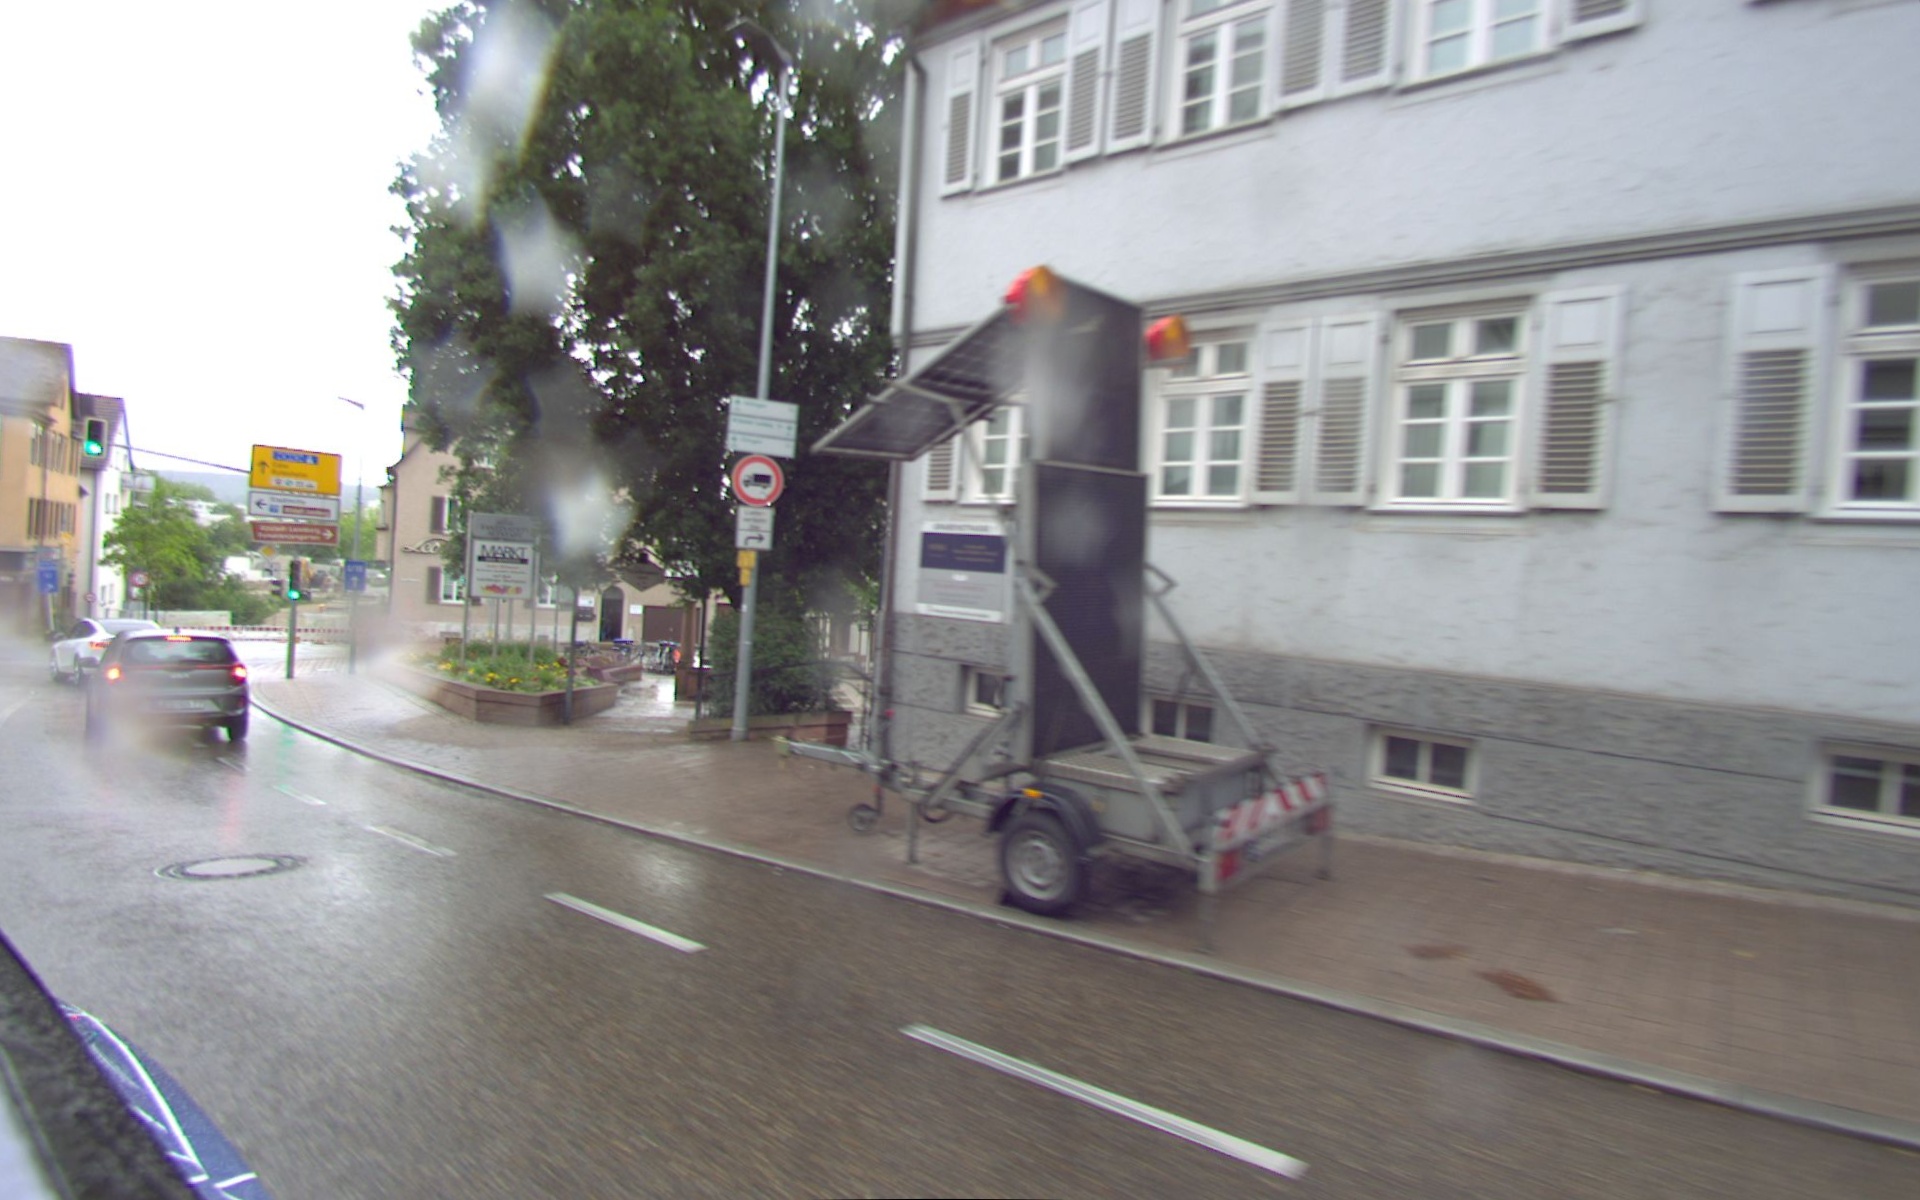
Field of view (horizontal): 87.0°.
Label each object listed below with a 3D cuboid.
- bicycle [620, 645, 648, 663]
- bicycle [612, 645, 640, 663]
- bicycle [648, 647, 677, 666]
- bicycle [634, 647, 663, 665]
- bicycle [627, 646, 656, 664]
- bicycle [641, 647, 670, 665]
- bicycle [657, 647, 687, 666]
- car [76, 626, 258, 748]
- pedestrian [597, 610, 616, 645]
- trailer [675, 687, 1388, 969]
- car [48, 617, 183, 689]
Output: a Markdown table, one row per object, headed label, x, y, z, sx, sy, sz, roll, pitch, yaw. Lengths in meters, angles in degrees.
| label | x | y | z | sx | sy | sz | roll | pitch | yaw |
| --- | --- | --- | --- | --- | --- | --- | --- | --- | --- |
| bicycle | -11.454 | 1.901 | 35.536 | 0.407 | 0.610 | 0.842 | -1 | -3 | 42 |
| bicycle | -11.828 | 1.907 | 35.865 | 0.407 | 0.610 | 0.842 | -1 | -3 | 42 |
| bicycle | -10.035 | 1.900 | 34.199 | 0.407 | 0.610 | 0.842 | -1 | -3 | 42 |
| bicycle | -10.725 | 1.913 | 34.856 | 0.407 | 0.610 | 0.842 | -1 | -3 | 42 |
| bicycle | -11.075 | 1.921 | 35.182 | 0.407 | 0.610 | 0.842 | -1 | -3 | 42 |
| bicycle | -10.374 | 1.907 | 34.520 | 0.407 | 0.610 | 0.842 | -1 | -3 | 42 |
| bicycle | -9.631 | 1.894 | 33.863 | 0.407 | 0.610 | 0.842 | -1 | -3 | 42 |
| car | -11.171 | 1.144 | 14.178 | 1.589 | 1.483 | 3.588 | 4 | -4 | -44 |
| pedestrian | -17.656 | 1.393 | 50.599 | 0.695 | 1.724 | 0.678 | 2 | -3 | -33 |
| trailer | 0.205 | 1.201 | 6.713 | 4.476 | 0.912 | 1.972 | -1 | -1 | 42 |
| car | -21.034 | 1.273 | 25.147 | 4.382 | 1.620 | 1.941 | -1 | -3 | 42 |
